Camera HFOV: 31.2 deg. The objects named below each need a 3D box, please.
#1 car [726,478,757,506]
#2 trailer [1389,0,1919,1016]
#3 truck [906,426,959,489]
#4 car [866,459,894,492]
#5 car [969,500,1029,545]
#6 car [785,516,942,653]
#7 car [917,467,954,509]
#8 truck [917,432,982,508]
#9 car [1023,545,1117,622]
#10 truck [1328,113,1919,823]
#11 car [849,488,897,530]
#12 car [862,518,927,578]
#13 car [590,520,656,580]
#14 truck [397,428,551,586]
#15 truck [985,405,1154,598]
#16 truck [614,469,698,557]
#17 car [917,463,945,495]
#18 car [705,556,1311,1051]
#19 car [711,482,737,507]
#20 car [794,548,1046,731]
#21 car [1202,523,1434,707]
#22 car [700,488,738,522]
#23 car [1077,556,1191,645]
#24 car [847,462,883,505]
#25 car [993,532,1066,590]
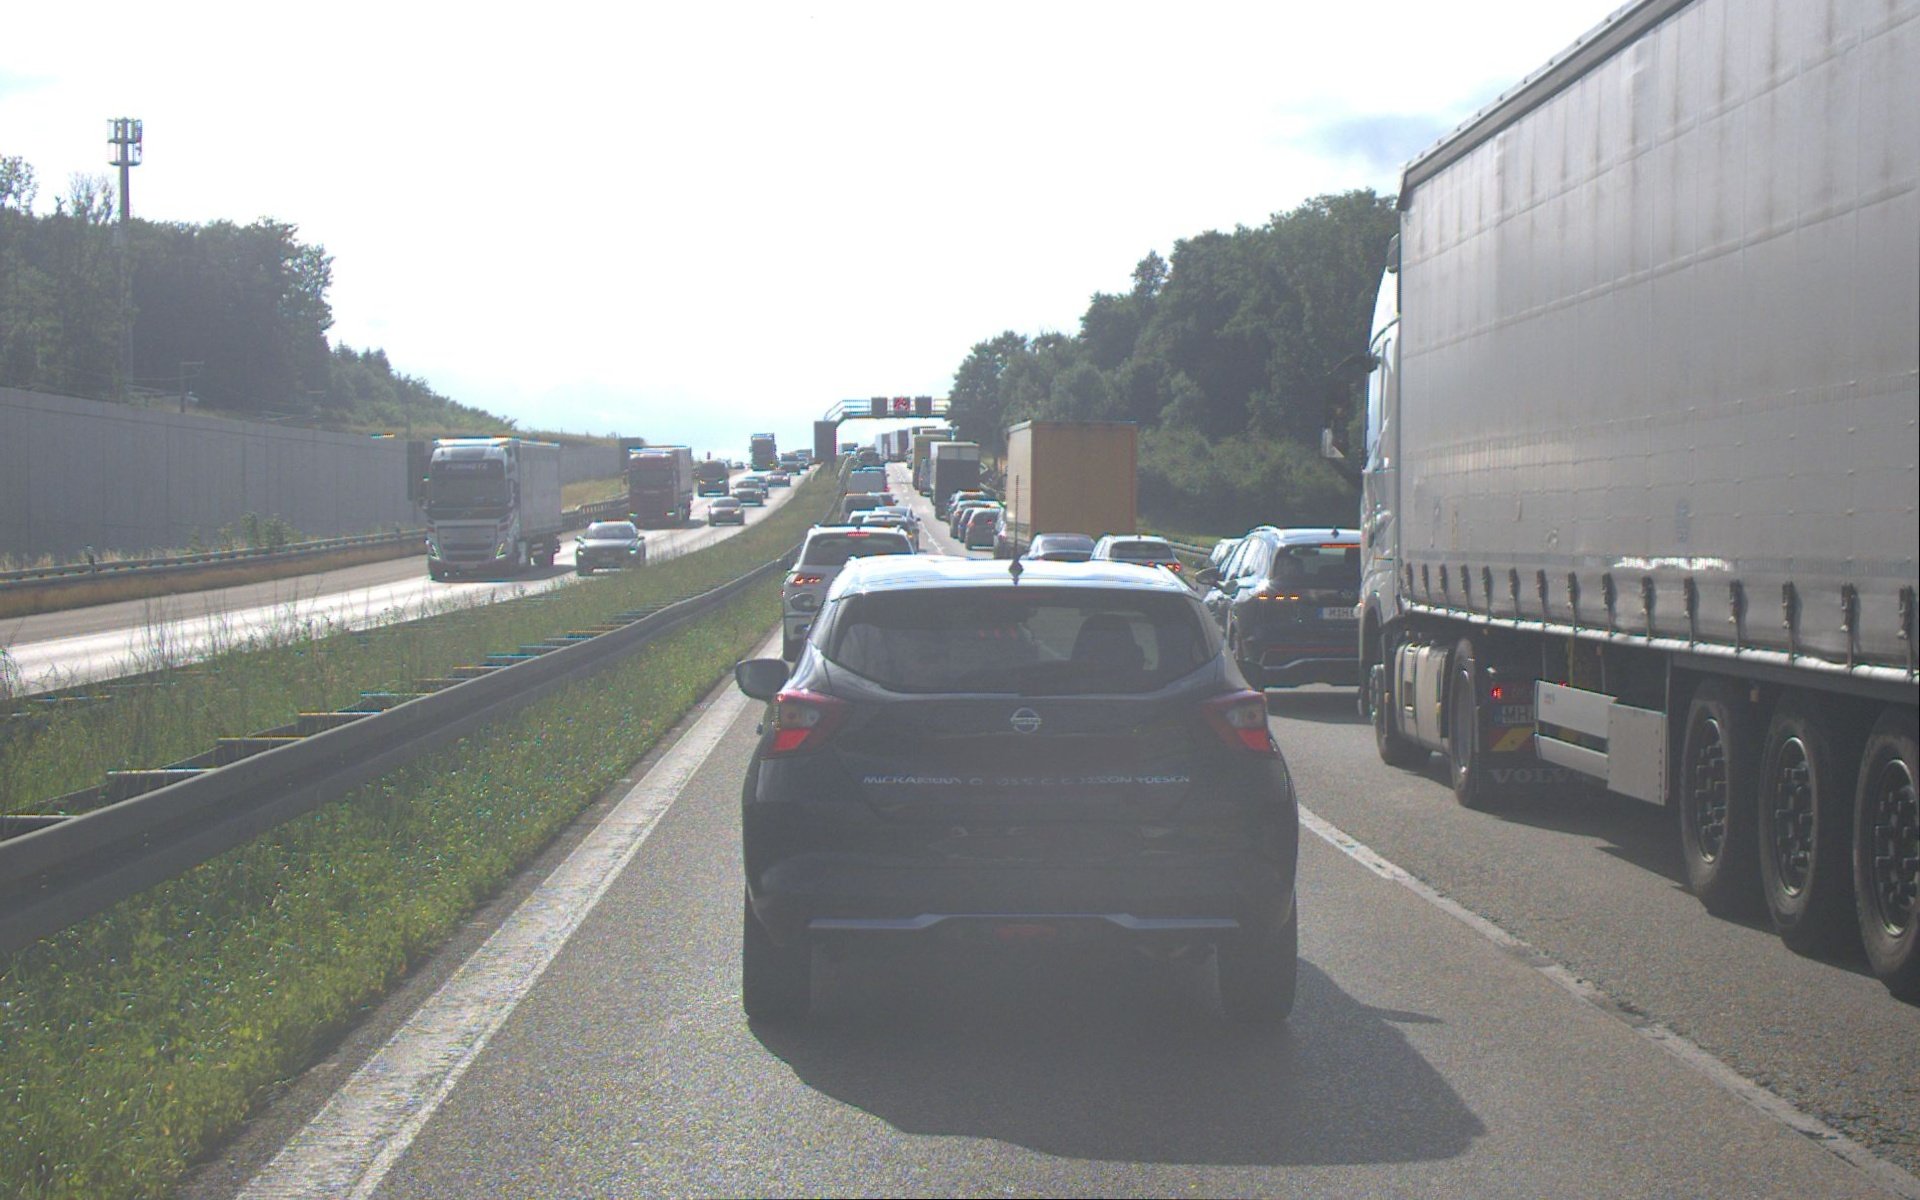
[{"bbox_3d":[-13.918,-6.882,219.408,1.744,1.699,4.233,1,3,-1],"label":"car"},{"bbox_3d":[4.371,-0.729,14.850,3.130,3.997,13.367,1,0,-1],"label":"trailer"},{"bbox_3d":[-2.149,-10.709,259.094,3.464,4.561,12.443,1,2,-3],"label":"truck"},{"bbox_3d":[-5.591,-8.703,239.808,1.873,2.151,5.212,0,3,-2],"label":"car"},{"bbox_3d":[1.465,-2.970,130.744,1.873,1.638,4.233,0,2,-5],"label":"car"},{"bbox_3d":[-1.199,-0.212,43.261,1.873,1.638,4.232,0,1,-1],"label":"car"},{"bbox_3d":[-1.358,-6.135,187.655,1.873,2.151,5.212,0,3,-2],"label":"car"},{"bbox_3d":[-0.700,-8.038,213.224,3.464,4.561,12.443,1,2,-3],"label":"truck"},{"bbox_3d":[2.427,-0.397,76.672,1.873,1.638,4.232,0,1,-1],"label":"car"},{"bbox_3d":[4.268,-0.741,22.104,3.133,4.002,5.164,1,0,-1],"label":"truck"},{"bbox_3d":[-3.552,-3.705,140.061,1.873,1.638,4.233,0,2,-2],"label":"car"},{"bbox_3d":[-1.929,-1.552,100.980,1.873,1.638,4.233,0,2,-1],"label":"car"},{"bbox_3d":[-9.978,-1.462,101.977,1.743,1.700,4.232,1,0,-3],"label":"car"},{"bbox_3d":[-14.762,-2.809,105.457,3.296,4.561,12.442,0,1,-2],"label":"truck"},{"bbox_3d":[2.662,-2.382,88.392,3.296,4.562,12.442,1,0,-3],"label":"truck"},{"bbox_3d":[-16.153,-4.606,183.442,3.297,4.539,12.441,0,1,0],"label":"truck"},{"bbox_3d":[-2.055,-8.544,242.756,1.873,2.151,5.212,0,3,-2],"label":"car"},{"bbox_3d":[0.098,0.574,12.206,1.773,1.446,4.232,0,1,-1],"label":"car"},{"bbox_3d":[-17.232,-7.726,251.460,1.744,1.699,4.233,1,3,-2],"label":"car"},{"bbox_3d":[-0.342,0.273,27.685,1.873,1.353,4.232,0,1,-1],"label":"car"},{"bbox_3d":[3.296,0.107,32.340,1.697,1.605,4.437,0,1,0],"label":"car"},{"bbox_3d":[-12.536,-4.942,179.176,1.744,1.700,4.233,1,2,-1],"label":"car"},{"bbox_3d":[3.277,-0.007,65.447,1.873,1.638,4.232,0,1,-1],"label":"car"},{"bbox_3d":[-5.090,-6.275,184.629,1.873,2.151,5.212,0,3,-2],"label":"car"},{"bbox_3d":[1.994,-1.153,99.755,1.873,1.638,4.233,0,1,-2],"label":"car"}]
